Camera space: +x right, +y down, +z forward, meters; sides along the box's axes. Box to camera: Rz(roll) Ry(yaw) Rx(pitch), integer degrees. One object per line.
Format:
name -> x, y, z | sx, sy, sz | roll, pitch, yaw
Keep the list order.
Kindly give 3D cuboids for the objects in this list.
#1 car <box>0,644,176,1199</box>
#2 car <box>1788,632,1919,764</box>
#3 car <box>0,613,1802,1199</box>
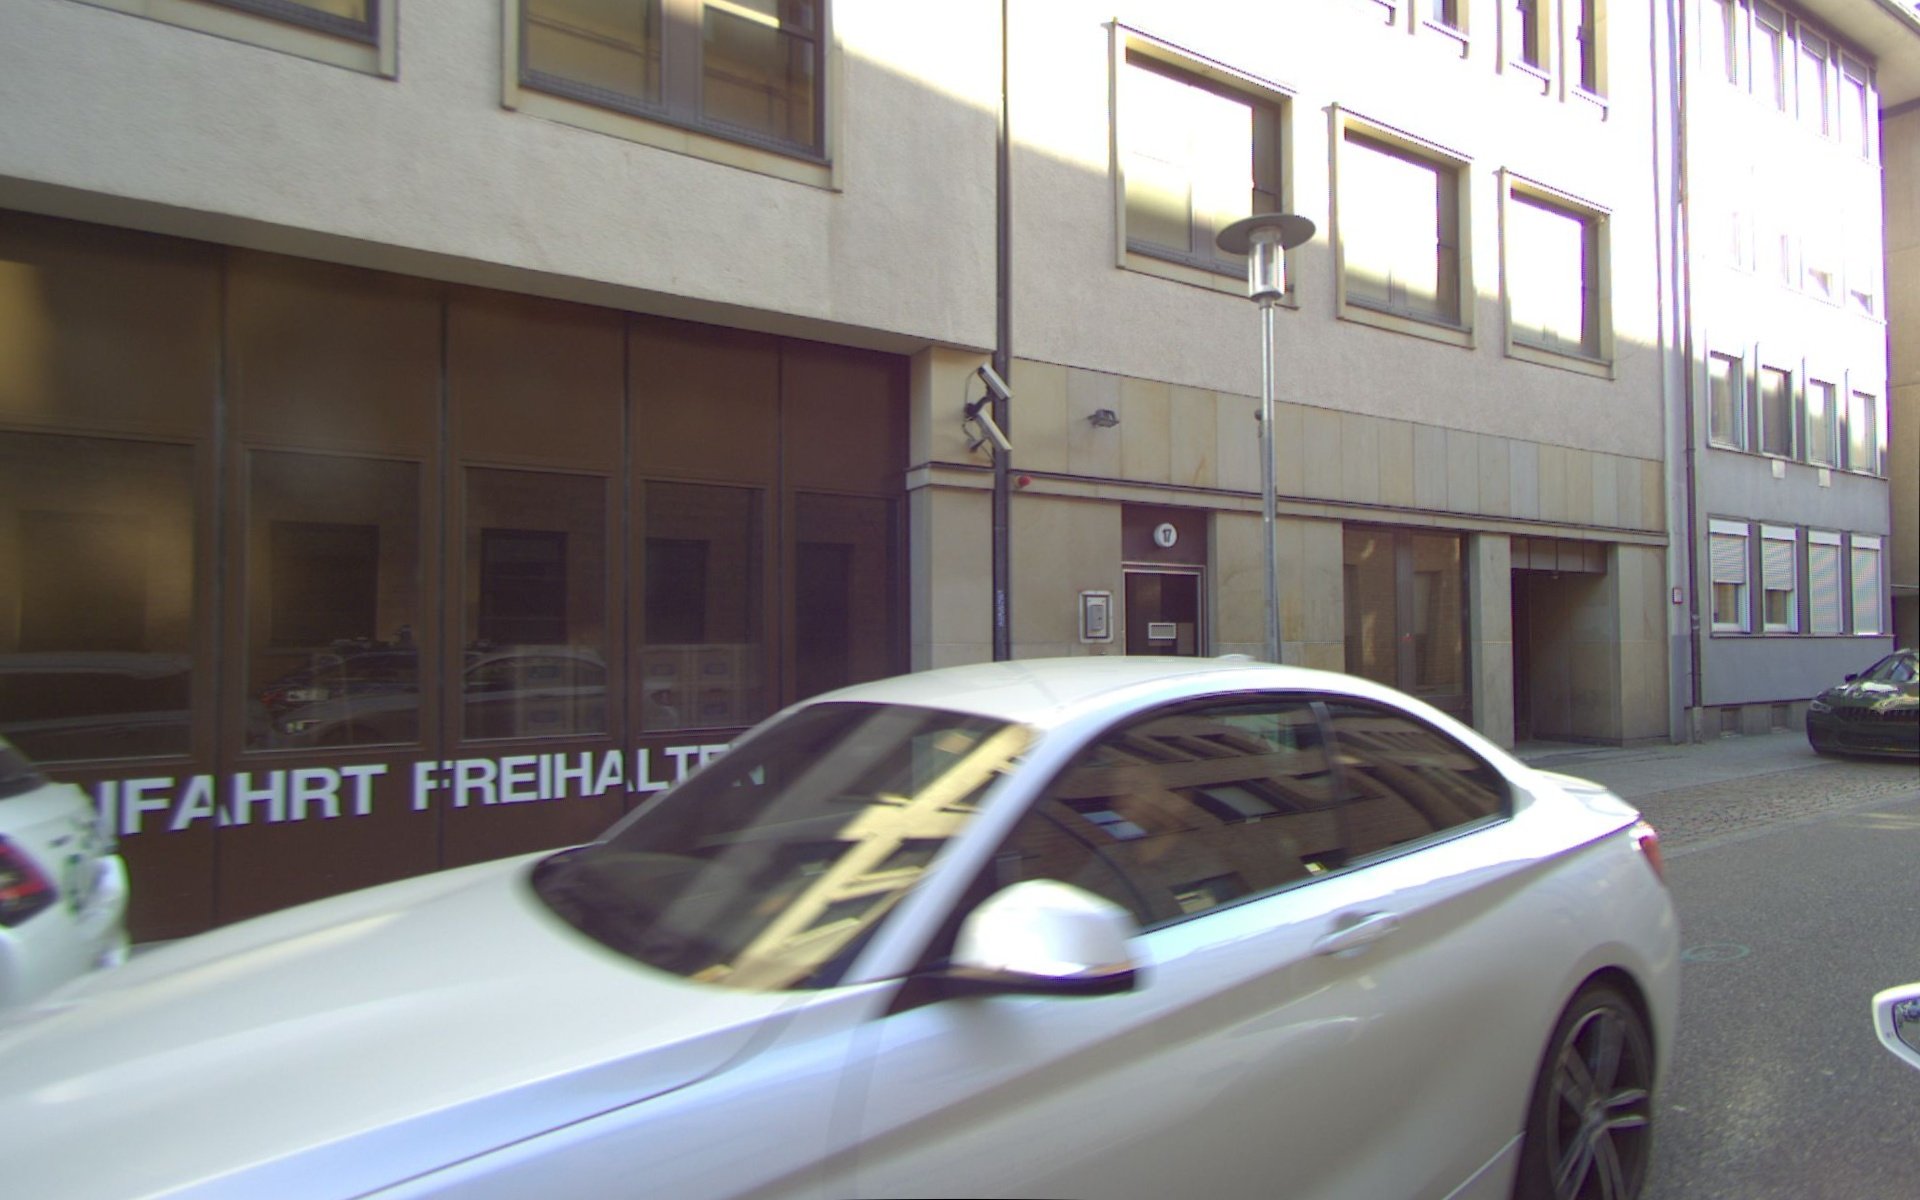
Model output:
car -> -4.303, 0.923, 2.345 | 3.736, 1.541, 1.660 | 1, -5, -34
car -> 13.098, 1.200, 13.278 | 4.675, 1.550, 1.880 | 1, -3, -32
car -> 0.160, 0.843, 2.481 | 4.113, 1.537, 1.706 | 1, -3, -32
